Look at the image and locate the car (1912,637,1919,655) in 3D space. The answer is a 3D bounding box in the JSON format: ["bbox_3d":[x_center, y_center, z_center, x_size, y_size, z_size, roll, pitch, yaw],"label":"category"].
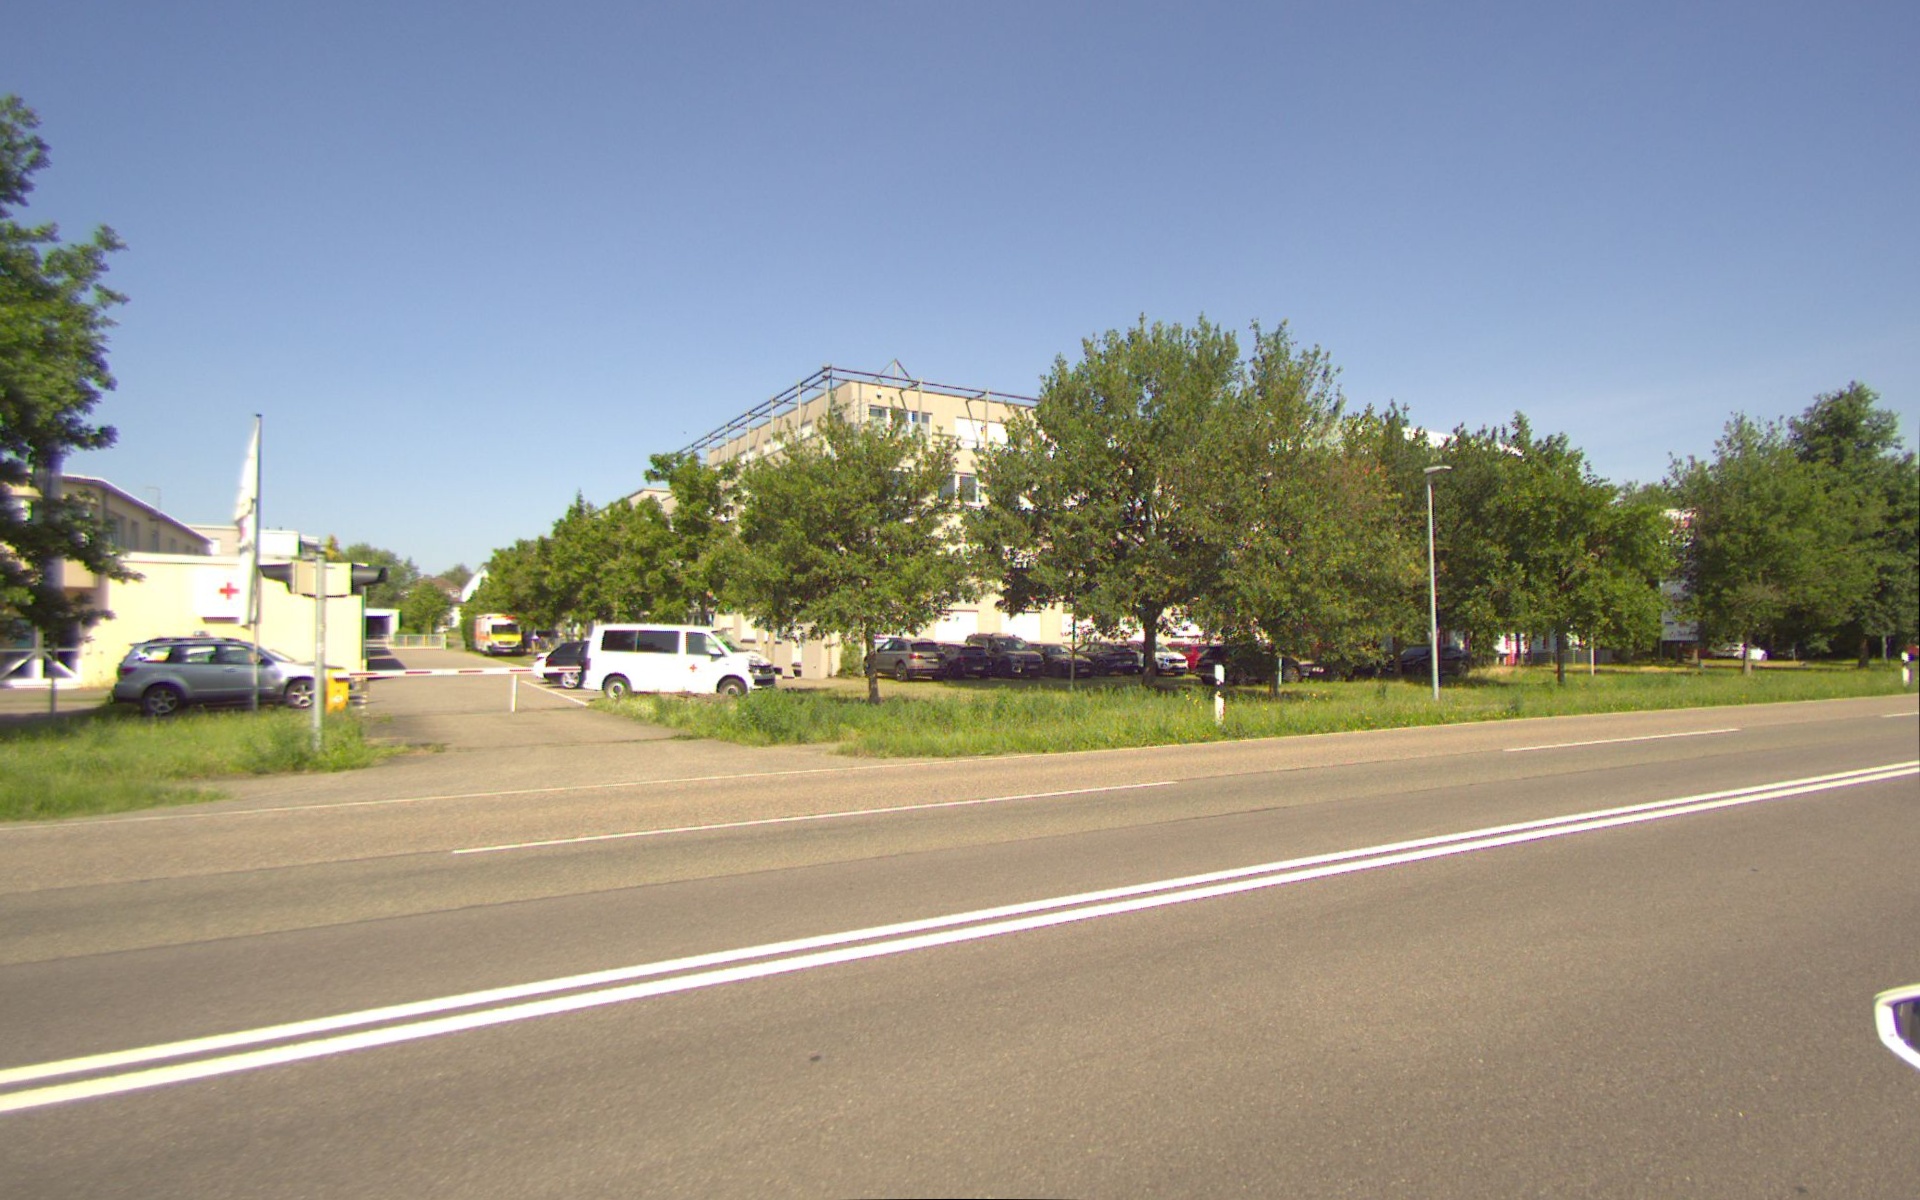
[{"bbox_3d":[89.323,4.182,90.699,1.977,1.672,4.573,1,-2,-30],"label":"car"}]

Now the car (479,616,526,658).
[{"bbox_3d":[-30.375,2.391,66.580,2.259,2.643,6.547,1,-2,-30],"label":"car"}]

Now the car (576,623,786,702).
[{"bbox_3d":[-7.253,1.610,26.514,4.916,1.954,2.074,1,-1,0],"label":"car"}]

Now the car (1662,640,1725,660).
[{"bbox_3d":[55.777,3.801,76.356,4.894,1.456,1.985,1,-2,-29],"label":"car"}]

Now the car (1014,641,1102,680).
[{"bbox_3d":[4.227,2.601,43.885,1.866,1.557,3.967,1,-2,-31],"label":"car"}]

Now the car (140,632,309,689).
[{"bbox_3d":[-23.249,1.878,31.964,4.120,1.680,1.847,1,-2,-31],"label":"car"}]

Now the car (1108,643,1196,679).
[{"bbox_3d":[8.787,2.760,46.259,1.866,1.557,3.967,1,-2,-31],"label":"car"}]

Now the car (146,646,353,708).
[{"bbox_3d":[-17.970,1.900,25.685,4.145,1.412,1.919,1,-2,-32],"label":"car"}]

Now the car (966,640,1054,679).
[{"bbox_3d":[2.068,2.485,42.684,1.866,1.557,3.967,1,-2,-31],"label":"car"}]

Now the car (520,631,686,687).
[{"bbox_3d":[-12.187,1.992,34.527,4.916,1.830,2.074,1,-1,0],"label":"car"}]

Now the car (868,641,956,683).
[{"bbox_3d":[-1.969,2.428,40.008,1.866,1.557,3.967,1,-2,-31],"label":"car"}]

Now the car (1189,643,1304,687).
[{"bbox_3d":[11.188,2.498,39.144,4.496,1.599,1.735,1,-2,-31],"label":"car"}]

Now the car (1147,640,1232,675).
[{"bbox_3d":[10.981,2.708,48.241,1.723,1.557,3.967,1,-2,-31],"label":"car"}]

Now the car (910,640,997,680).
[{"bbox_3d":[-0.323,2.448,41.811,1.866,1.557,3.967,1,-2,-31],"label":"car"}]

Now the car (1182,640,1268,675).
[{"bbox_3d":[12.975,2.776,49.382,1.723,1.606,4.115,1,-2,-31],"label":"car"}]

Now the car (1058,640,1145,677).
[{"bbox_3d":[6.364,2.614,45.630,1.866,1.557,3.967,1,-2,-31],"label":"car"}]

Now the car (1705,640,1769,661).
[{"bbox_3d":[57.558,3.734,74.401,4.894,1.456,1.985,1,-2,-29],"label":"car"}]

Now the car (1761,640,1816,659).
[{"bbox_3d":[65.812,3.896,79.803,4.556,1.456,1.984,1,-2,-31],"label":"car"}]

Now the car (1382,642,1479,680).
[{"bbox_3d":[21.174,2.704,45.161,4.496,1.599,1.735,1,-2,-31],"label":"car"}]

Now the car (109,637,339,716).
[{"bbox_3d":[-17.032,1.727,23.541,4.145,1.673,1.919,1,-2,-32],"label":"car"}]

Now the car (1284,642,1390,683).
[{"bbox_3d":[15.783,2.591,41.988,4.496,1.599,1.735,1,-2,-31],"label":"car"}]
